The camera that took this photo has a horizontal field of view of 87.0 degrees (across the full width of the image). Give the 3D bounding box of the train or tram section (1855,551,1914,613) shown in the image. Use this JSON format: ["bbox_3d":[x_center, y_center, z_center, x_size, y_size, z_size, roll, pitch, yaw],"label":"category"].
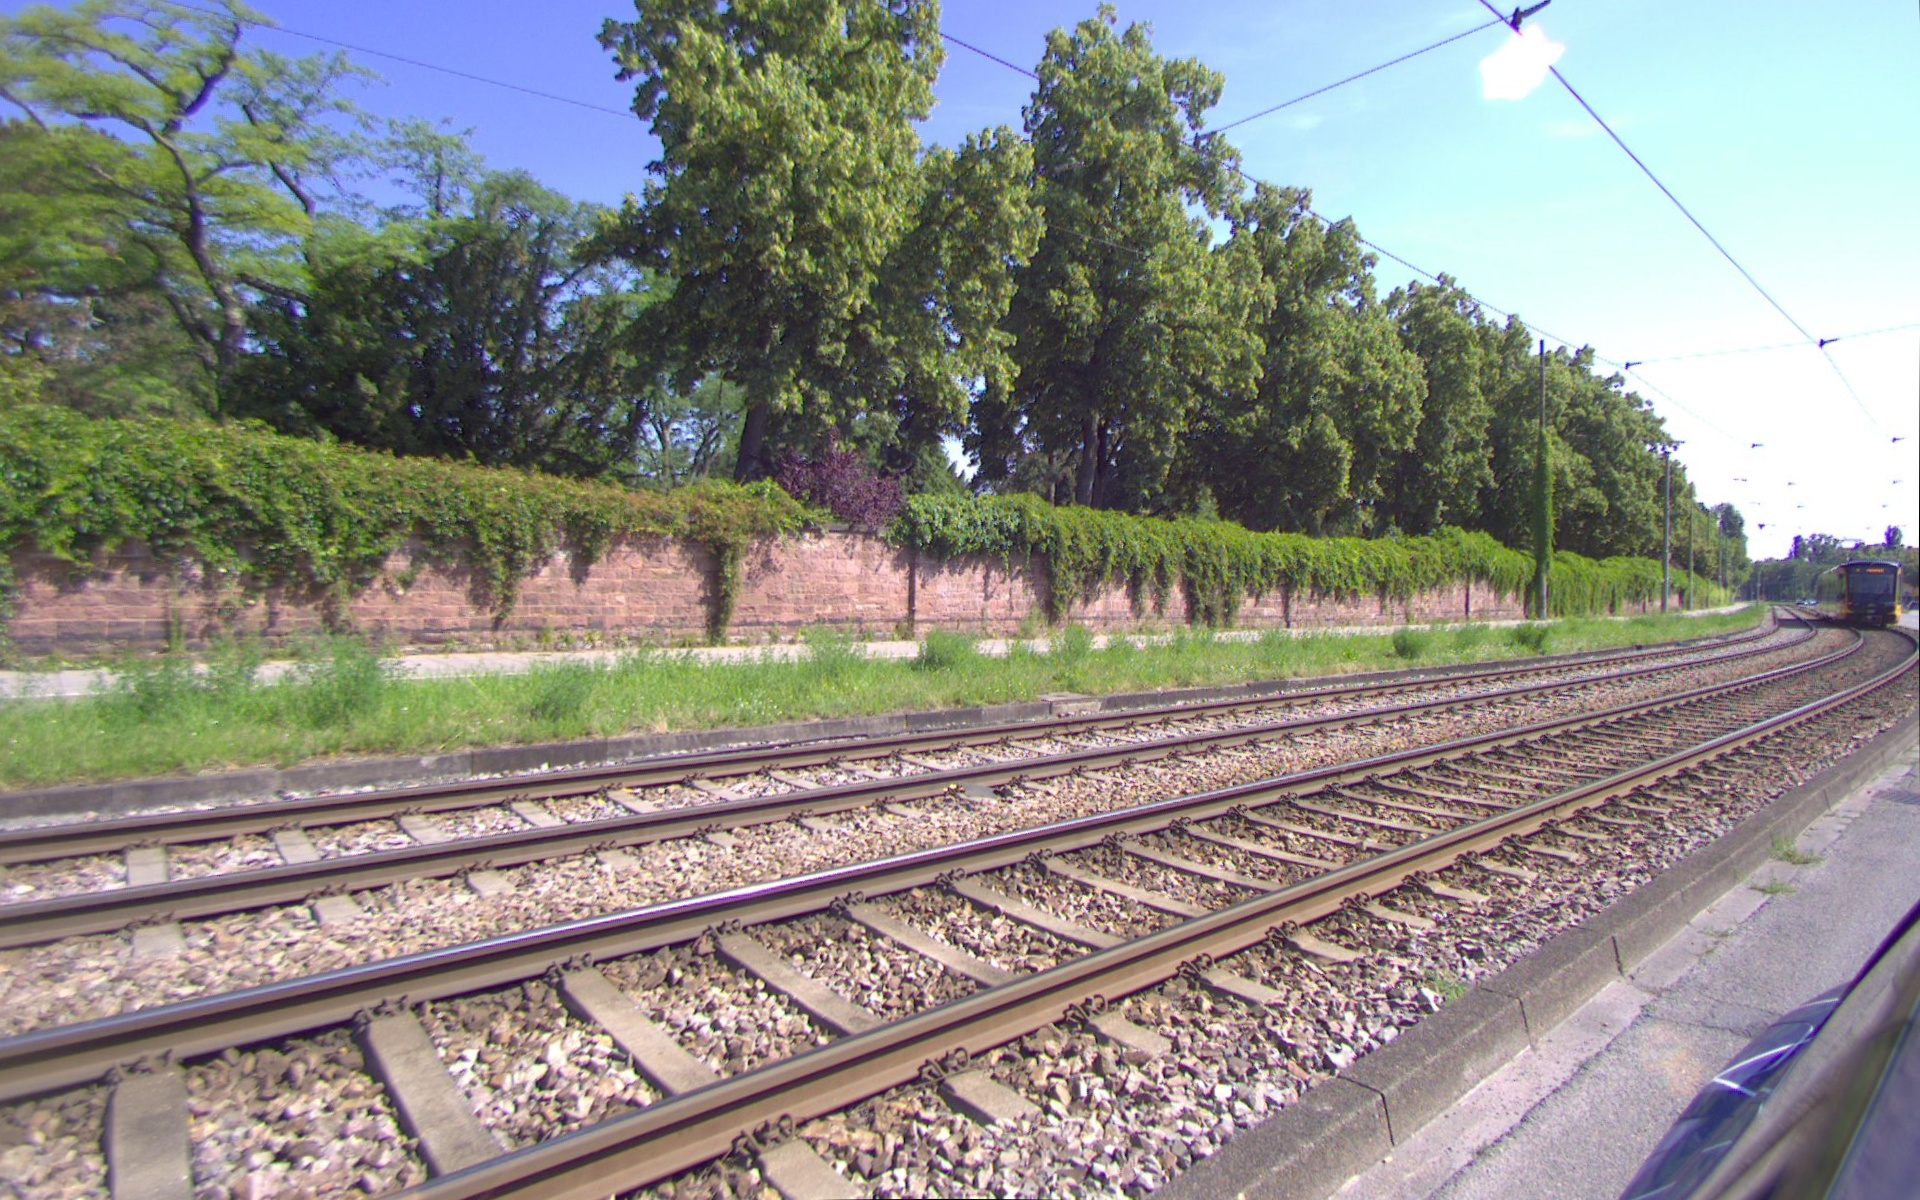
[{"bbox_3d":[63.993,-1.167,69.970,2.713,3.785,18.585,0,1,43],"label":"train or tram section"}]

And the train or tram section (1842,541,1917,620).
[{"bbox_3d":[51.331,-1.021,56.394,2.713,3.785,18.585,0,1,43],"label":"train or tram section"}]
